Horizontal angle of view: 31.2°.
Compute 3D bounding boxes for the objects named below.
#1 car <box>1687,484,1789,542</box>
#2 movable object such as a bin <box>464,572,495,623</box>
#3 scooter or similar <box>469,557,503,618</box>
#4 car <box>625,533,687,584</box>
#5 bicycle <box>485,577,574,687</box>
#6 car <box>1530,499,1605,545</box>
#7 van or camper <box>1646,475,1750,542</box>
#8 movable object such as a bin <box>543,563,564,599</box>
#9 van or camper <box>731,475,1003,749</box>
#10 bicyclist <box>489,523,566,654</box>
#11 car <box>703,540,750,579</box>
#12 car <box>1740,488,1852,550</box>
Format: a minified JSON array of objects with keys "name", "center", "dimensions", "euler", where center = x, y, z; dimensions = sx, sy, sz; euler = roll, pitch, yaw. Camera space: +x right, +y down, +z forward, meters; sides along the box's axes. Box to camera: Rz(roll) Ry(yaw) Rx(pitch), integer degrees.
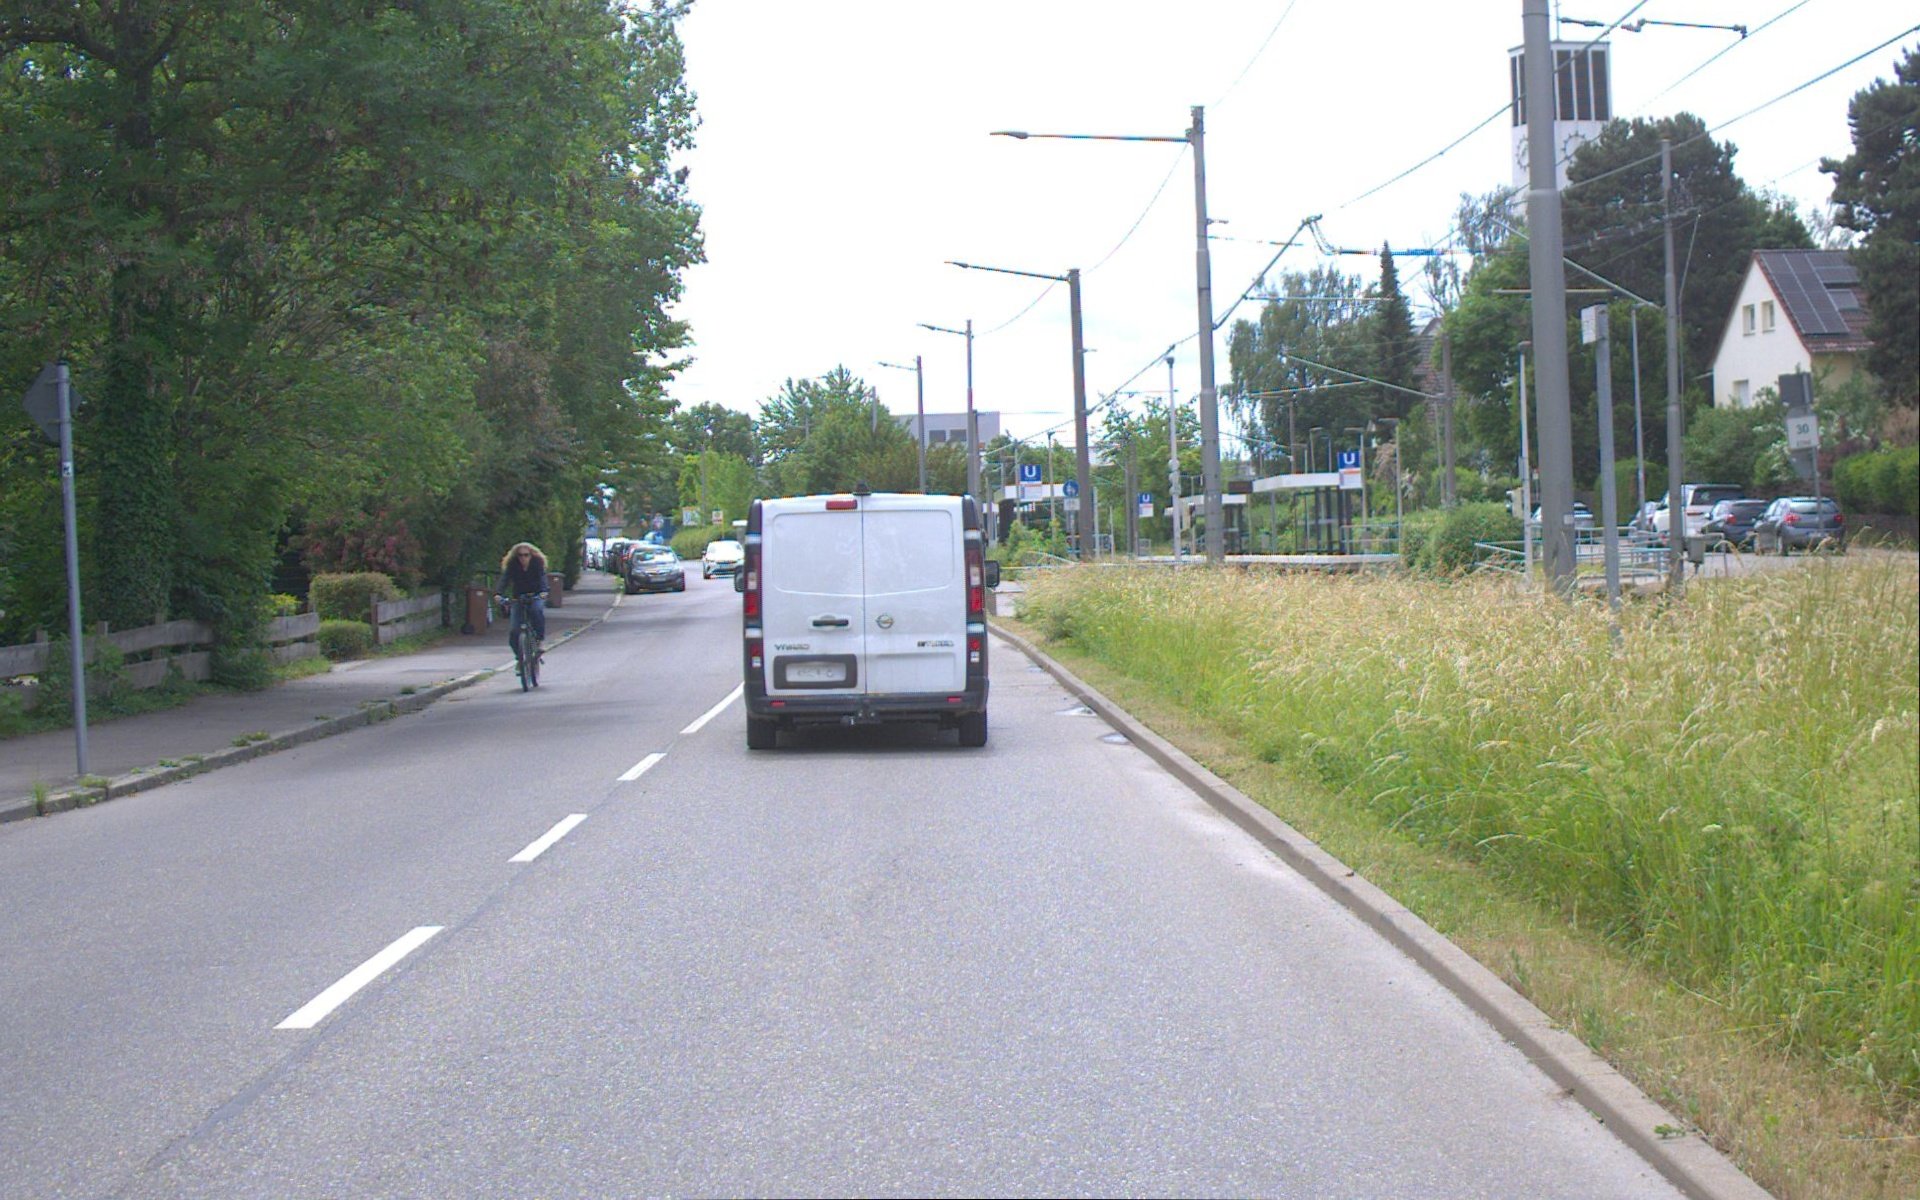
[{"name":"car","center":[21.439,-2.386,94.846],"dimensions":[1.883,1.517,4.000],"euler":[-2,1,0]},{"name":"movable object such as a bin","center":[-8.965,-0.055,64.149],"dimensions":[0.513,0.942,0.568],"euler":[-1,1,-1]},{"name":"scooter or similar","center":[-9.603,-0.260,69.686],"dimensions":[0.408,1.195,1.639],"euler":[-2,1,0]},{"name":"car","center":[-9.831,-1.349,110.910],"dimensions":[1.736,1.499,4.479],"euler":[-4,2,-7]},{"name":"bicycle","center":[-5.218,0.367,41.762],"dimensions":[0.755,1.222,2.308],"euler":[-4,1,-1]},{"name":"car","center":[21.425,-2.744,121.338],"dimensions":[1.883,1.517,4.000],"euler":[-2,1,0]},{"name":"van or camper","center":[21.364,-2.640,99.672],"dimensions":[1.905,1.819,5.048],"euler":[-2,1,0]},{"name":"movable object such as a bin","center":[-10.806,-0.501,91.462],"dimensions":[0.462,0.927,0.430],"euler":[2,0,-18]},{"name":"van or camper","center":[-0.698,0.060,27.574],"dimensions":[1.993,2.007,4.446],"euler":[0,1,0]},{"name":"bicyclist","center":[-5.243,-0.143,41.693],"dimensions":[0.778,1.544,0.870],"euler":[-2,1,-1]},{"name":"car","center":[-9.223,-1.614,135.628],"dimensions":[1.693,1.425,3.787],"euler":[-4,1,-4]},{"name":"car","center":[21.523,-2.084,88.660],"dimensions":[1.883,1.517,4.000],"euler":[-2,1,0]}]
